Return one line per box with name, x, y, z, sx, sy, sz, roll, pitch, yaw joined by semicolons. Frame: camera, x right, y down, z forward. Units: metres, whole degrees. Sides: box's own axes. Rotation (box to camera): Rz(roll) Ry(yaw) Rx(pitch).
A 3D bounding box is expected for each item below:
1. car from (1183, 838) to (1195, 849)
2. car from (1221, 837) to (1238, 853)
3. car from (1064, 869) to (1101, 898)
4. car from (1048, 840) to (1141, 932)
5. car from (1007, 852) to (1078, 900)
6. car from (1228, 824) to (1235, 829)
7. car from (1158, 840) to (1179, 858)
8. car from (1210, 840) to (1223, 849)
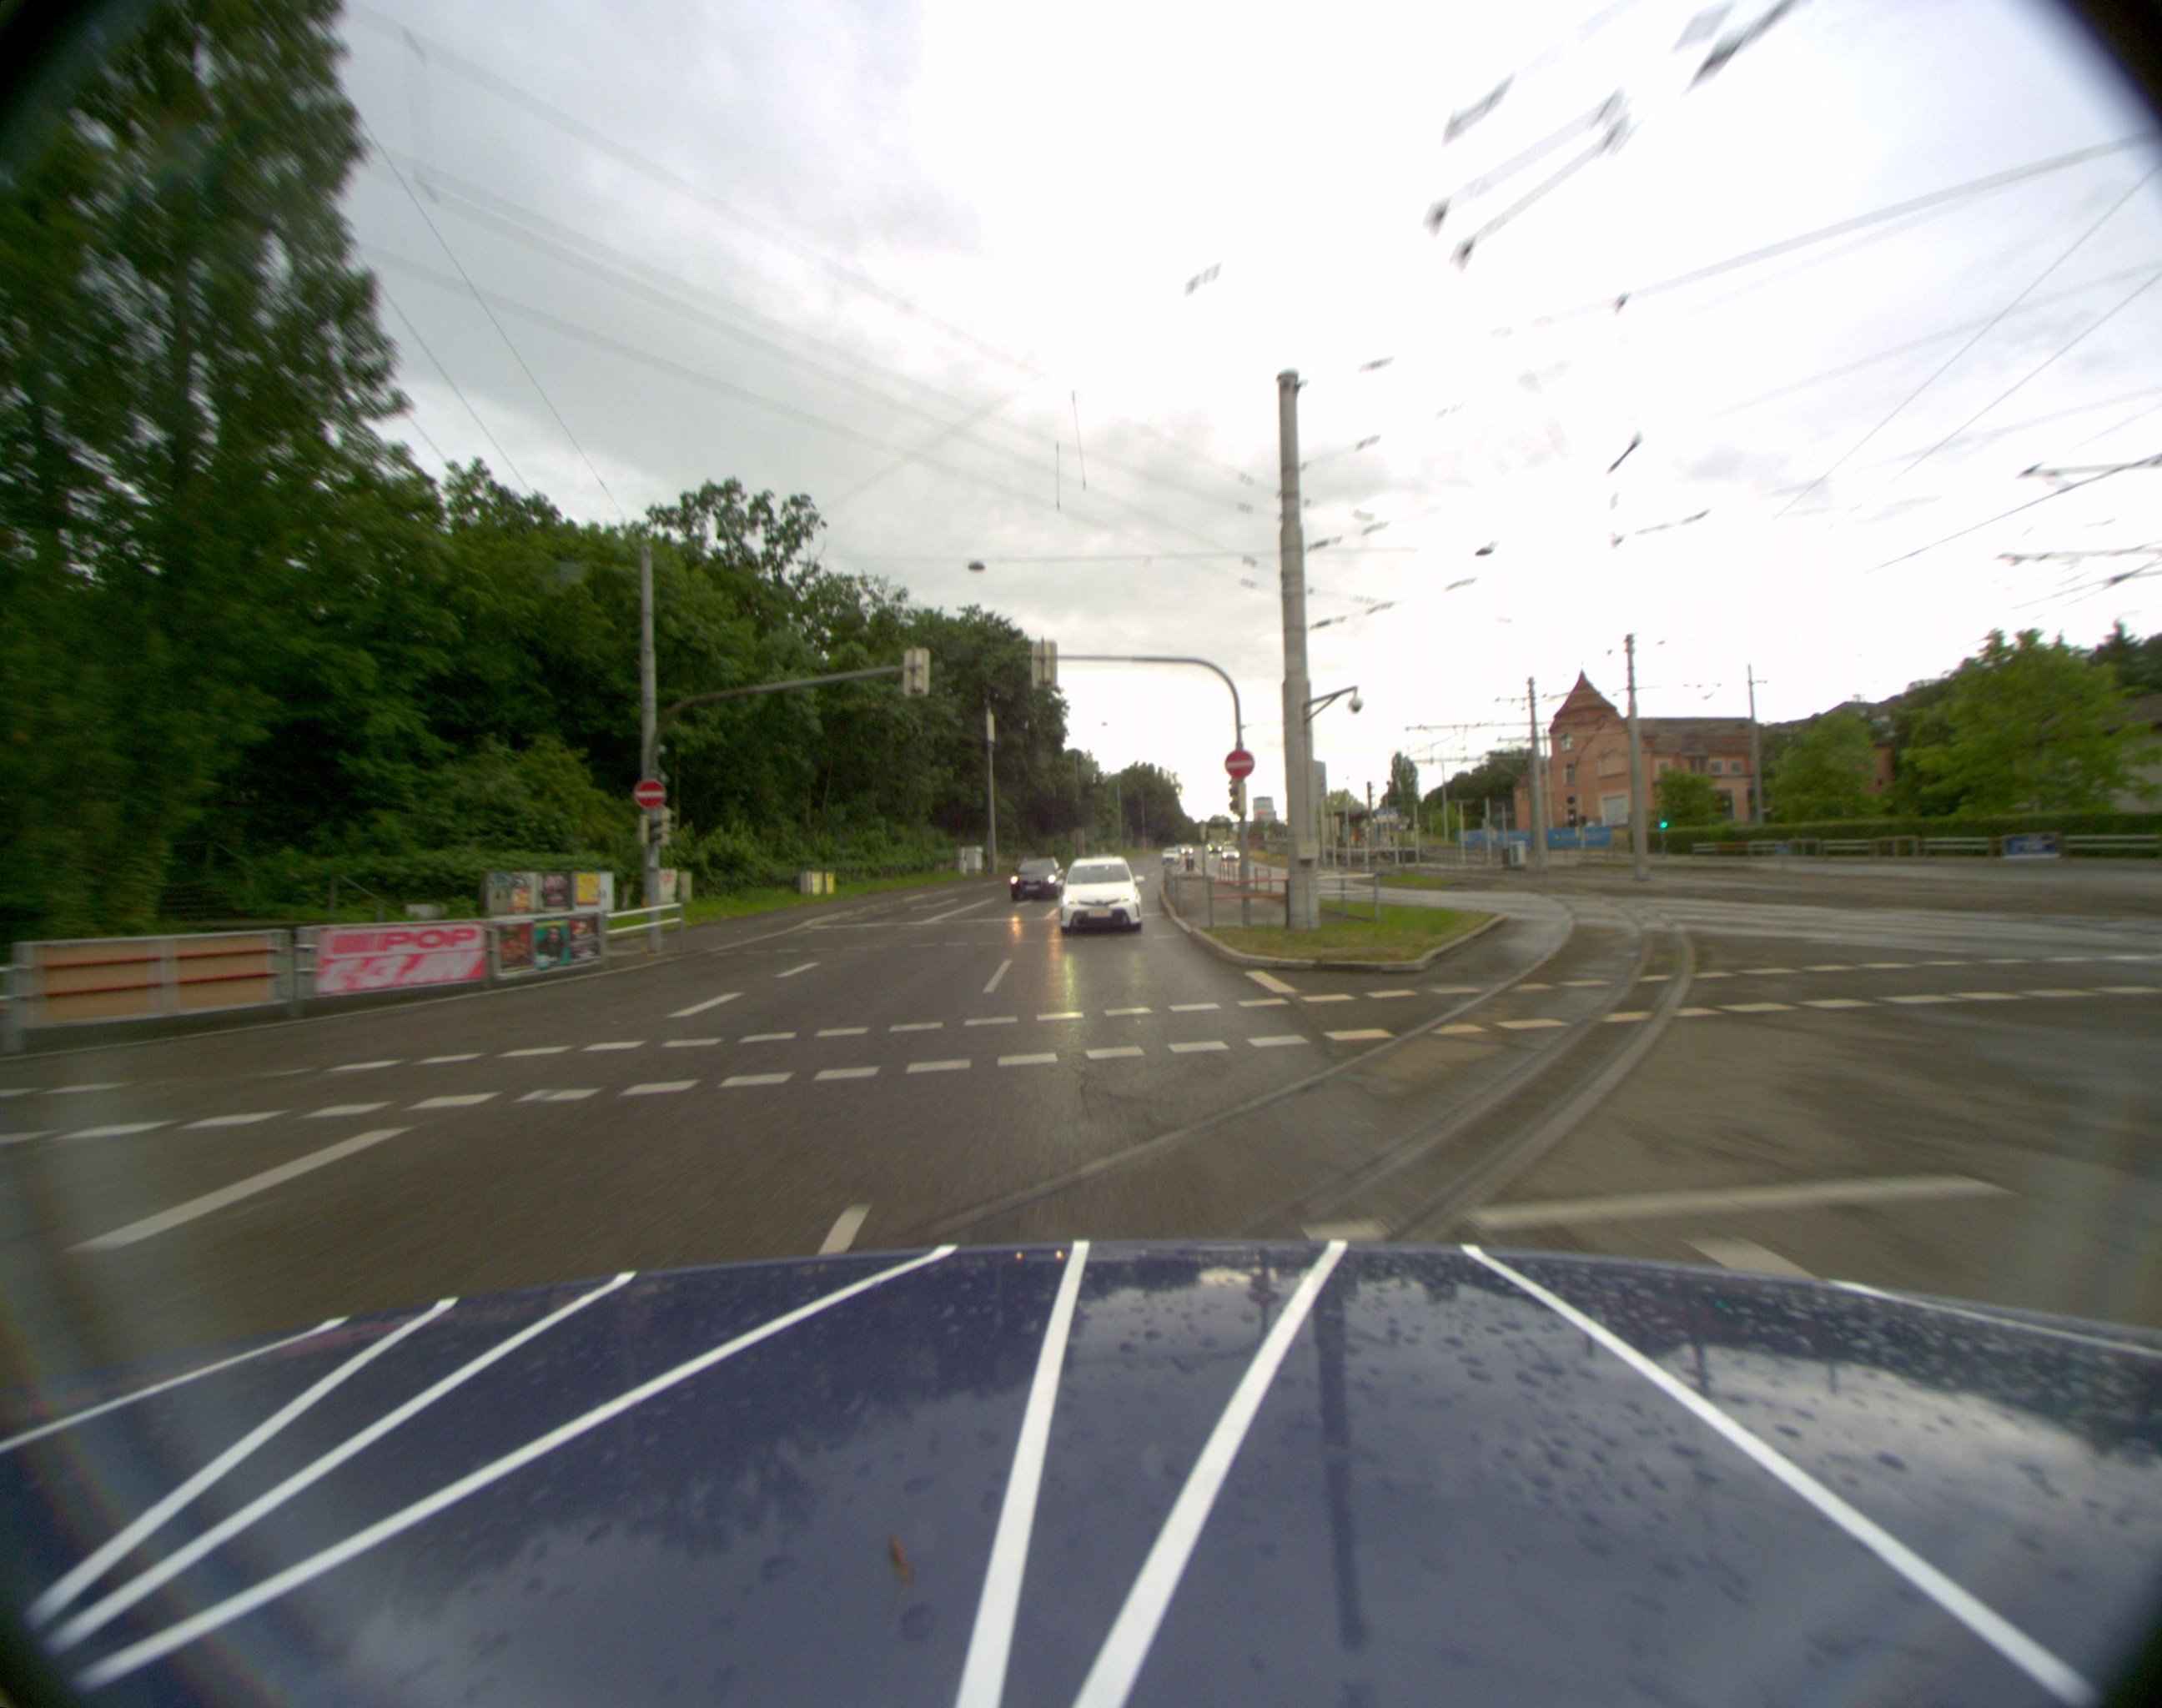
car;16.343;-1.621;115.189;1.800;1.463;4.001;-1;2;8
car;16.217;-1.005;82.651;1.737;1.579;4.002;-1;3;12
car;0.131;1.984;51.879;1.737;1.579;4.001;-1;3;12
car;0.436;0.624;17.475;1.855;1.742;3.999;-1;2;4
car;-1.437;0.808;30.178;1.854;1.579;4.002;-1;3;12
car;46.725;-8.613;235.976;1.800;1.463;4.003;-1;2;13
car;8.805;-0.521;76.368;1.737;1.579;4.002;-1;3;12
car;21.737;-1.539;122.089;1.801;1.463;4.000;-1;2;6
